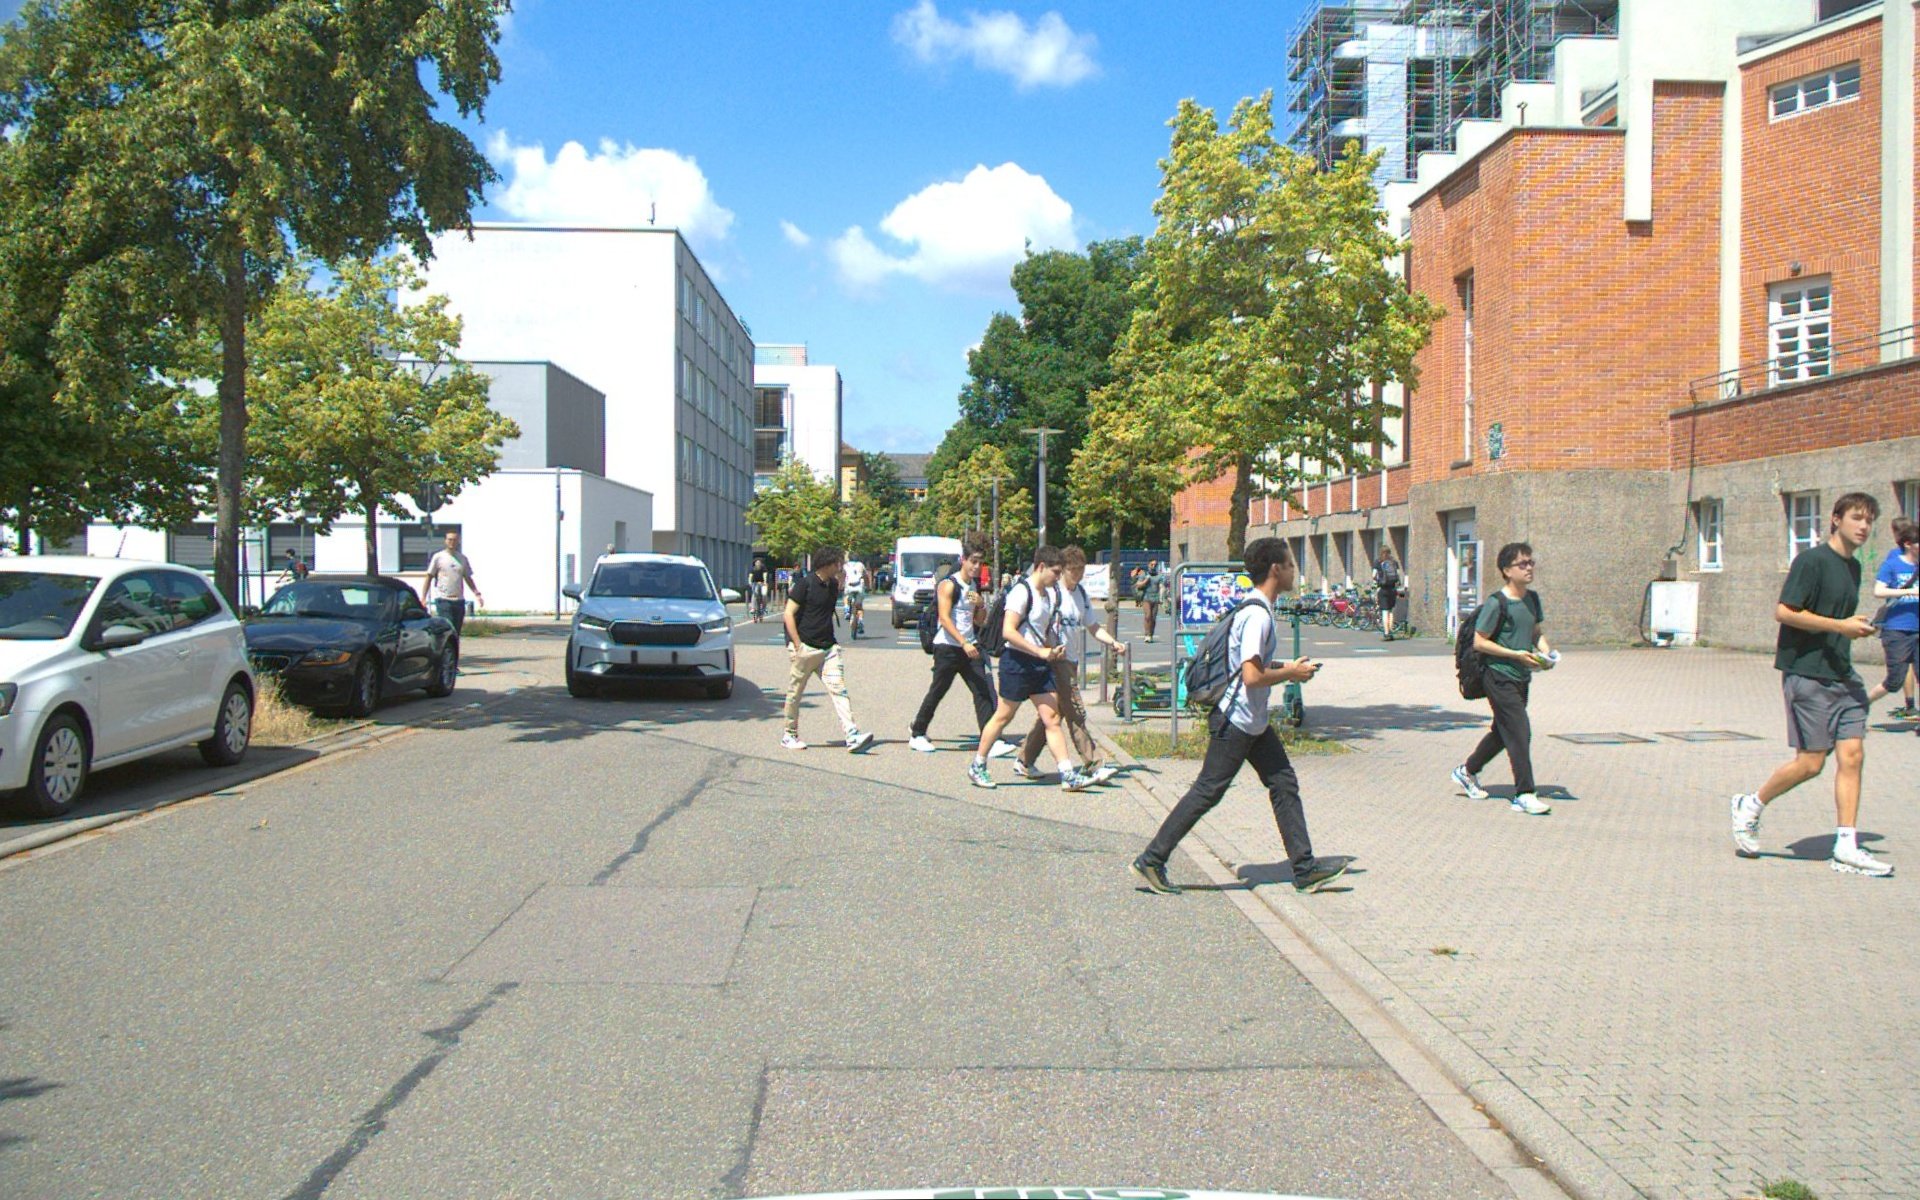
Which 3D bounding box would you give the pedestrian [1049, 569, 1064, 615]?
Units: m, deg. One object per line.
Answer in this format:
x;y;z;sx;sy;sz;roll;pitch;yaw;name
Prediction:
3.997;-0.340;68.631;0.564;1.892;0.569;0;1;-4;pedestrian

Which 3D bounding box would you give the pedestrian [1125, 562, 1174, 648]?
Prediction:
3.963;0.101;34.700;0.836;1.763;1.160;0;1;-3;pedestrian

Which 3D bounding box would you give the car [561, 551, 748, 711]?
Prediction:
-3.587;0.338;20.145;1.881;1.647;4.513;3;0;-7;car

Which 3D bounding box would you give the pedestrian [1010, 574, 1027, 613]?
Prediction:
2.874;-0.328;81.418;0.774;1.892;1.026;0;1;-1;pedestrian

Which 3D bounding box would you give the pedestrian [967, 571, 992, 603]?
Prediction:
1.311;-0.880;111.582;1.470;2.030;1.645;-3;2;-3;pedestrian

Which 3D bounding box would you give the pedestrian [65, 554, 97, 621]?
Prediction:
-23.590;-0.335;44.408;0.540;1.795;0.586;1;0;-1;pedestrian

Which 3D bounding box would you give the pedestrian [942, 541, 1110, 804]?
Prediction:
0.468;0.476;11.698;0.964;1.769;0.698;0;1;37;pedestrian

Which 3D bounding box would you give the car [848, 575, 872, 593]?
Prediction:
-8.973;-1.426;148.167;1.758;1.556;4.002;0;1;2;car

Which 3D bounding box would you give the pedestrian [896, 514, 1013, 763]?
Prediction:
-0.050;0.314;13.872;0.610;2.015;0.819;-1;-1;-33;pedestrian

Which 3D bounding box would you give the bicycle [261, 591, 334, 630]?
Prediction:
-18.188;0.274;45.390;2.079;1.020;0.809;1;0;32;bicycle

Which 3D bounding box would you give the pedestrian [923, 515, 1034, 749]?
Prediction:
0.168;0.263;14.719;0.809;2.014;0.692;0;1;20;pedestrian

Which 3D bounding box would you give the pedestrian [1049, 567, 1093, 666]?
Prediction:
1.959;0.279;29.324;0.688;1.724;0.962;0;1;-1;pedestrian

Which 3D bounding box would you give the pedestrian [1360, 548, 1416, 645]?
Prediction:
8.464;-0.076;32.768;0.774;1.892;1.116;0;1;-3;pedestrian

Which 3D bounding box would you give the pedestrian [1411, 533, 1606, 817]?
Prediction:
3.582;0.460;10.813;0.977;1.749;0.699;-1;1;44;pedestrian

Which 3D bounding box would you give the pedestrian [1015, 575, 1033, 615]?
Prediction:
3.040;-0.242;78.396;0.774;1.892;1.026;0;1;-1;pedestrian

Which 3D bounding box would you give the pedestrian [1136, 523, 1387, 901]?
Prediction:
1.434;0.514;8.016;1.083;1.746;0.710;0;0;-1;pedestrian

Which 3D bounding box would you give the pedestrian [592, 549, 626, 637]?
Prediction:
-7.406;-0.136;34.894;0.655;1.816;0.981;1;-1;-15;pedestrian

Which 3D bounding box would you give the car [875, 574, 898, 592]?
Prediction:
-6.578;-1.558;148.050;1.758;1.556;4.002;0;1;2;car

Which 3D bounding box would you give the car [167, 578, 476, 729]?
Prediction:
-6.262;0.447;16.698;1.611;1.323;3.927;0;1;-1;car

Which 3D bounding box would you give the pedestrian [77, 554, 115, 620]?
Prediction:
-23.605;-0.362;45.198;0.679;1.779;0.636;1;0;-1;pedestrian

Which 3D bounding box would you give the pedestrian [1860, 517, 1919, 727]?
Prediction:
9.104;0.183;15.572;0.687;1.924;0.993;-1;1;-4;pedestrian

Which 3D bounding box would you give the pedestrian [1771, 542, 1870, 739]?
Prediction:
7.421;0.342;14.273;0.493;1.659;0.569;-1;0;-15;pedestrian

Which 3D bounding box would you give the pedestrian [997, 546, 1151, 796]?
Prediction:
0.844;0.497;12.241;0.891;1.769;0.676;1;0;37;pedestrian

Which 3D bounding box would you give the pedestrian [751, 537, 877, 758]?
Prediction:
-1.225;0.372;13.990;0.784;1.803;0.855;0;1;20;pedestrian

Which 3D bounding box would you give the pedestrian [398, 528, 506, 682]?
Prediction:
-6.651;0.057;21.634;1.008;1.936;1.162;1;0;-38;pedestrian

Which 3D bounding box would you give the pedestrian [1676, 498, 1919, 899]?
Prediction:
4.426;0.456;8.497;0.842;1.892;1.106;0;1;-29;pedestrian

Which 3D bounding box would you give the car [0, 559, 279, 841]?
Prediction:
-5.821;0.475;10.348;1.629;1.436;3.806;1;1;-2;car

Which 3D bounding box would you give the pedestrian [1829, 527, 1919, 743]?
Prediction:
8.148;0.294;14.397;0.696;1.819;0.750;-1;0;-15;pedestrian

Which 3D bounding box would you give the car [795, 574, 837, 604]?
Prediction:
-7.781;-0.617;89.458;1.758;1.556;4.002;0;1;2;car

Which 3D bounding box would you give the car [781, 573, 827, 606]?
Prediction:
-7.715;-0.536;82.045;1.758;1.556;4.002;0;1;2;car

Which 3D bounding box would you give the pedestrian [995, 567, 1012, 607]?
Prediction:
2.080;-0.621;78.609;0.774;1.892;1.243;0;1;0;pedestrian

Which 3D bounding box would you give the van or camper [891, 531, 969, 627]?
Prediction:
-0.762;-0.543;45.584;1.952;2.488;4.570;-1;0;1;van or camper
